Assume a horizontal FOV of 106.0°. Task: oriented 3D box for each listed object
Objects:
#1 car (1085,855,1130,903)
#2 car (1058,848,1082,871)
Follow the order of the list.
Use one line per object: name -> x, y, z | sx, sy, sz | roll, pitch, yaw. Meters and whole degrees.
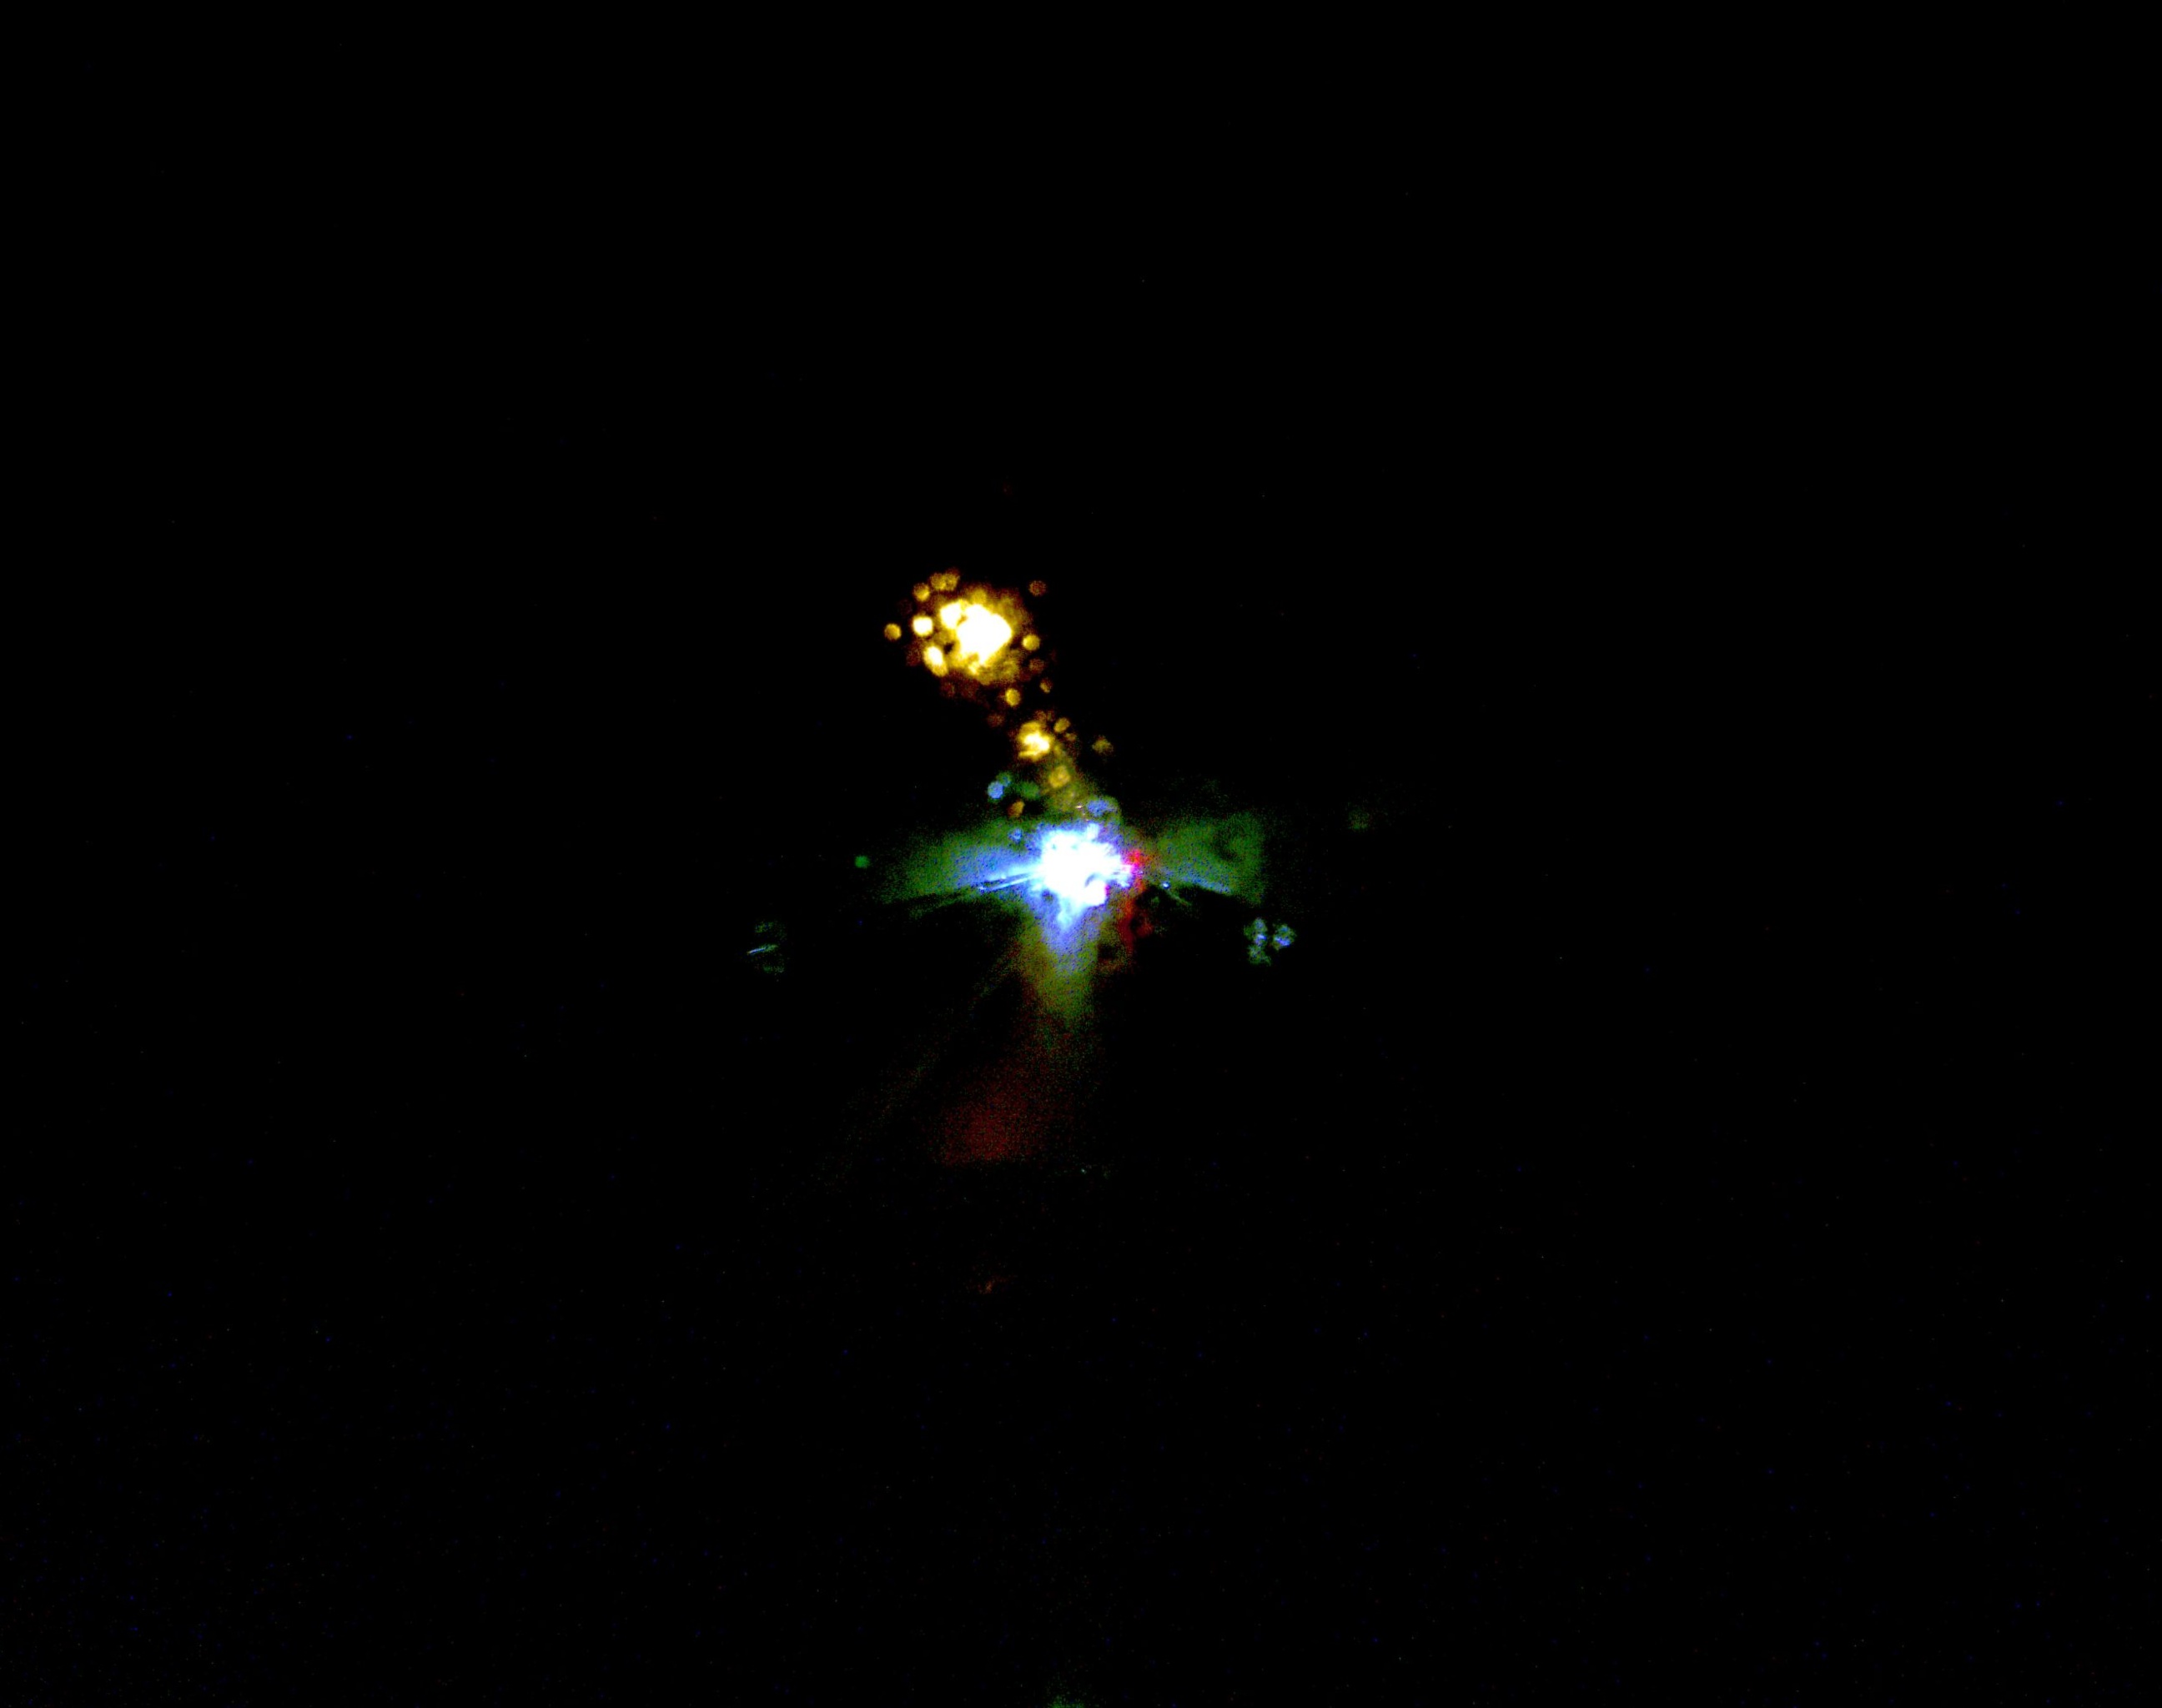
car -> 1.102, 0.965, 33.268 | 1.629, 1.758, 4.148 | -2, 0, 2
car -> -0.927, 0.478, 71.552 | 1.834, 1.899, 4.611 | -2, 0, 2
